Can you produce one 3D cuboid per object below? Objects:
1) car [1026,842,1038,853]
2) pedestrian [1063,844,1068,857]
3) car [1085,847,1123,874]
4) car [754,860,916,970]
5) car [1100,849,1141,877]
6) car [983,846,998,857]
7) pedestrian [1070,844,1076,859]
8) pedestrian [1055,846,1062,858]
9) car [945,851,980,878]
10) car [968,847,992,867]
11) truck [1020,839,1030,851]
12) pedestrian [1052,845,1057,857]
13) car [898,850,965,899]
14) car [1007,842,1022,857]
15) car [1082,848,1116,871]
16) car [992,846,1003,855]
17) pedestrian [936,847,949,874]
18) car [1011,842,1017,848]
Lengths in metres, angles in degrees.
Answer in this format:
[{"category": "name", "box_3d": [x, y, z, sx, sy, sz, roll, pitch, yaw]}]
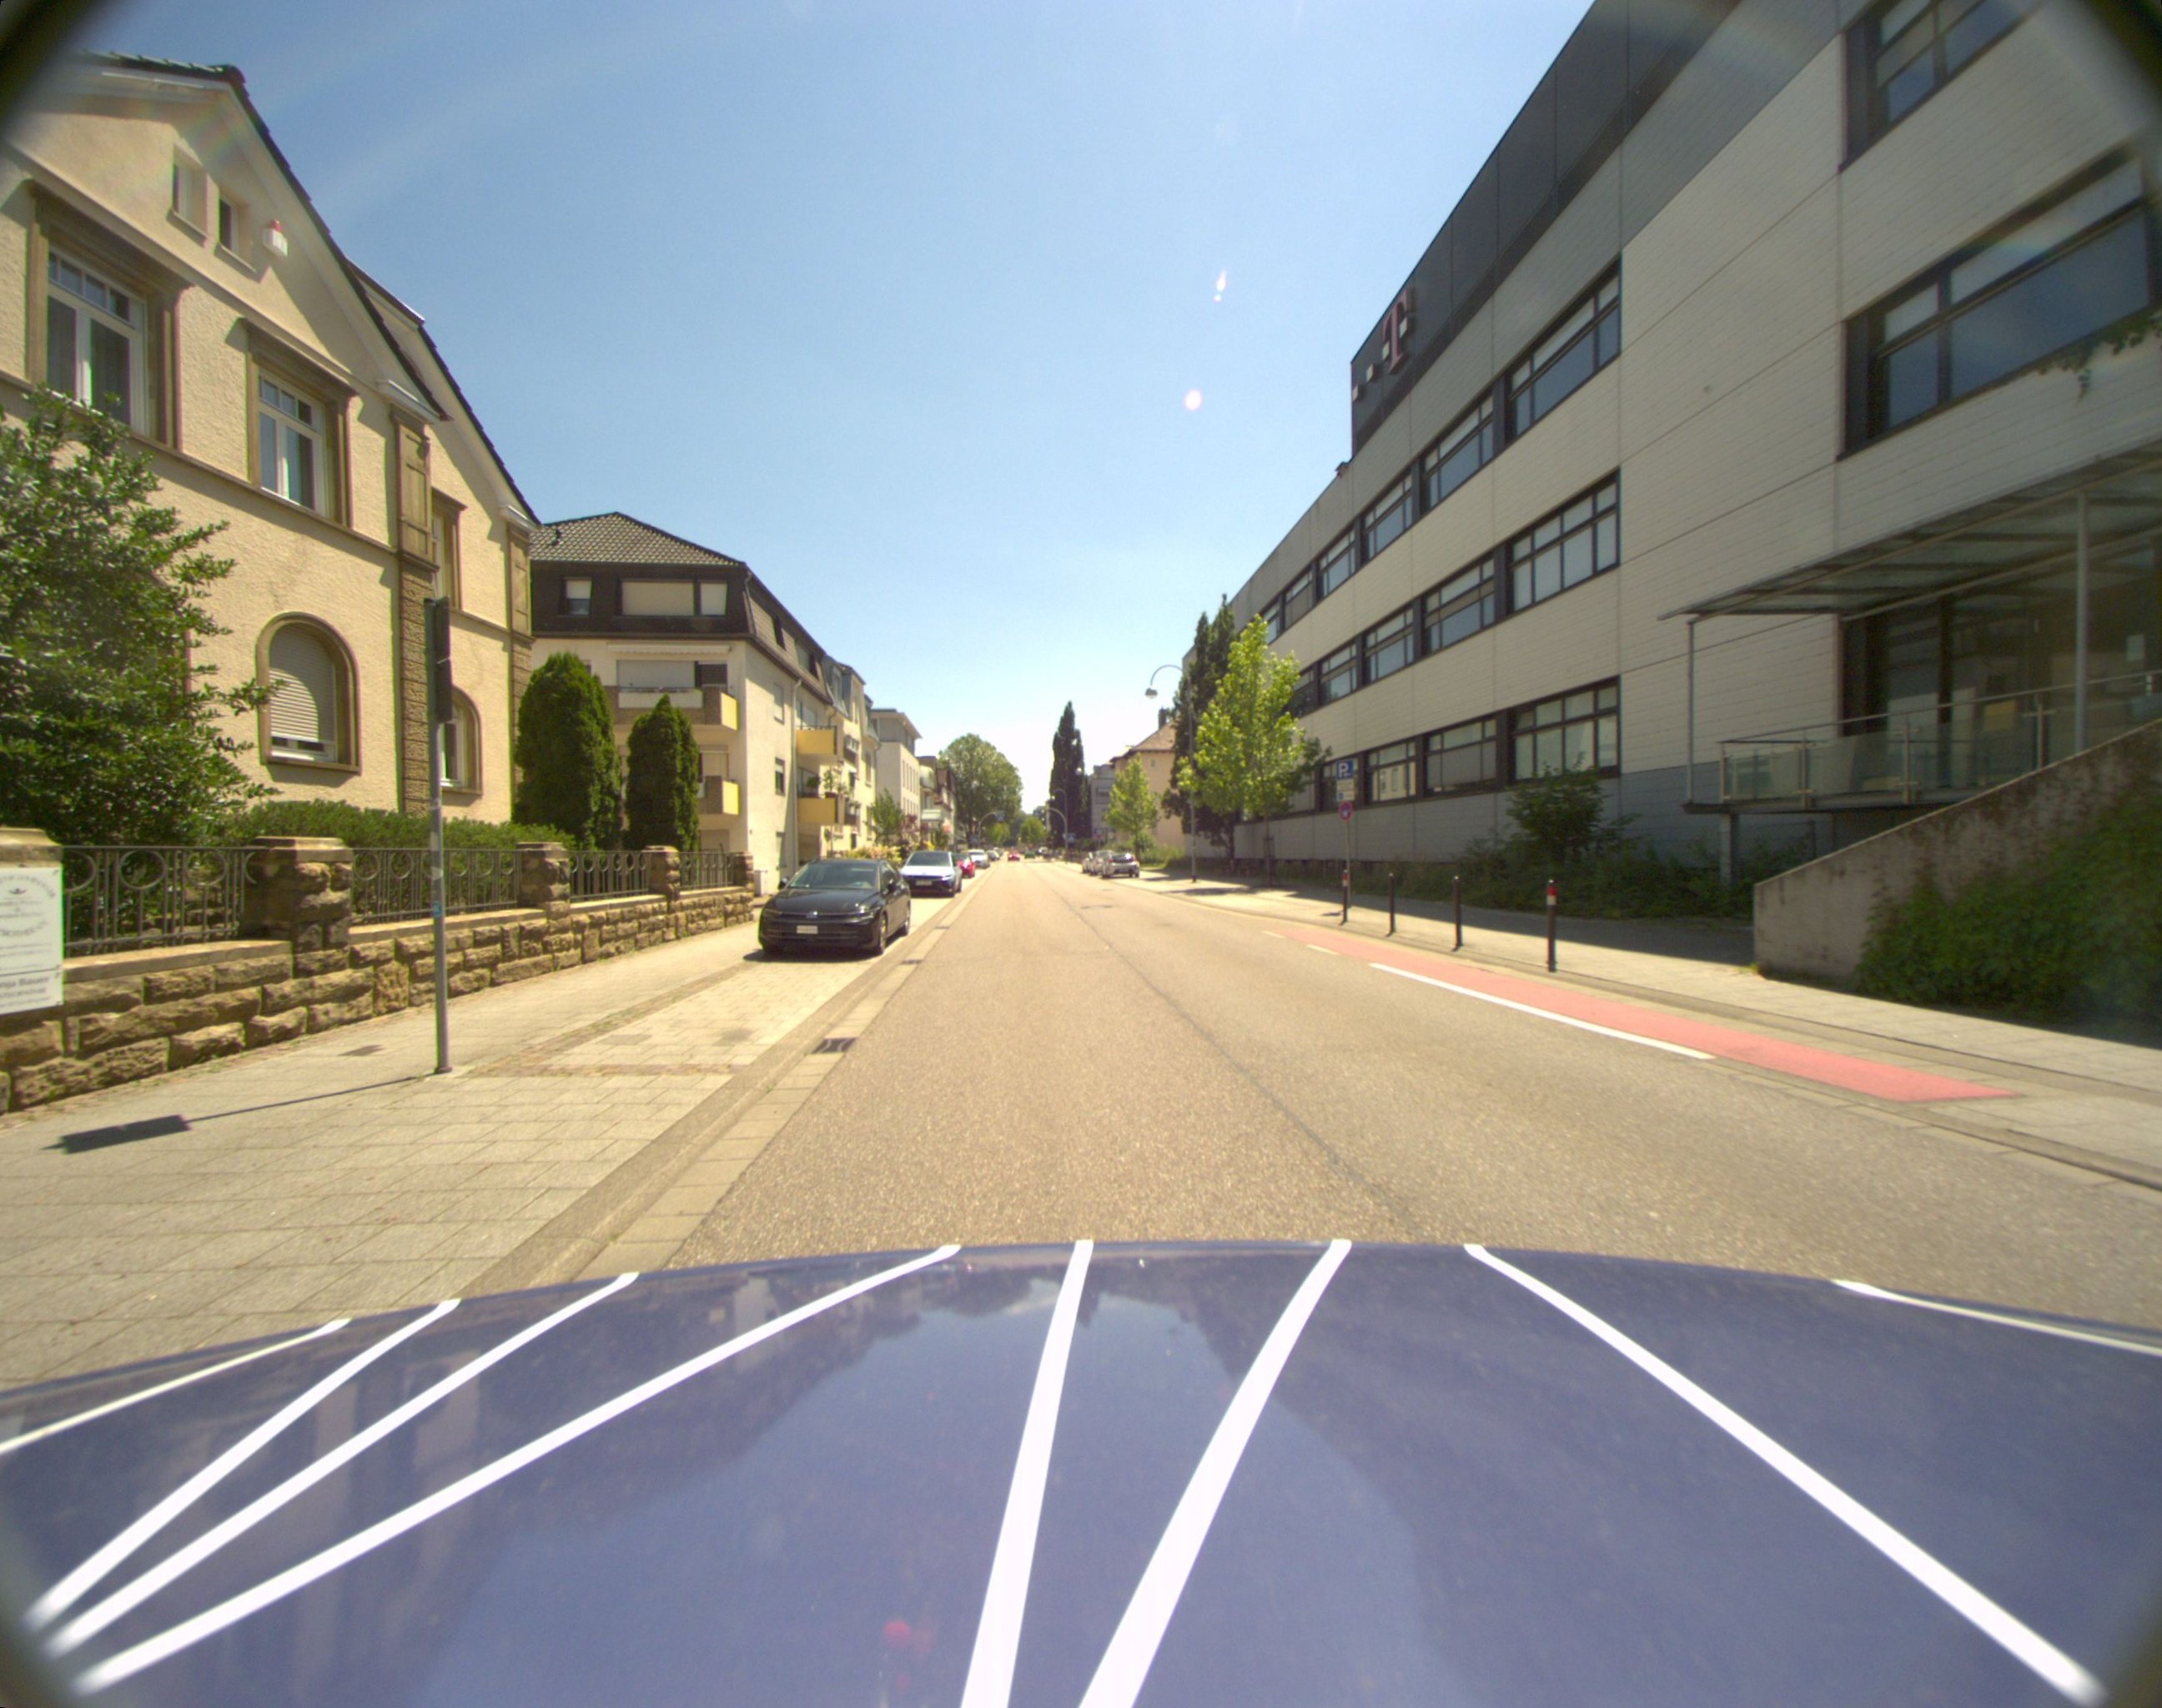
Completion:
[{"category": "car", "box_3d": [-8.293, -1.047, 128.478, 1.827, 1.580, 4.098, -4, 2, -2]}, {"category": "pedestrian", "box_3d": [-1.879, -0.418, 95.014, 0.538, 1.675, 0.708, -1, 2, -5]}, {"category": "car", "box_3d": [1.426, 0.389, 47.830, 1.827, 1.503, 4.287, -4, 1, -5]}, {"category": "car", "box_3d": [-3.919, 0.885, 12.856, 1.636, 1.438, 4.395, 2, 0, -5]}, {"category": "car", "box_3d": [2.153, 0.472, 42.156, 1.753, 1.401, 3.931, -3, 1, -4]}, {"category": "car", "box_3d": [-12.510, -0.365, 105.218, 1.832, 1.418, 4.697, 0, 1, -5]}, {"category": "pedestrian", "box_3d": [-0.871, -0.270, 84.748, 0.538, 1.675, 0.708, -1, 2, -5]}, {"category": "pedestrian", "box_3d": [-3.255, -0.269, 108.268, 0.848, 1.636, 0.750, -4, 2, -3]}, {"category": "car", "box_3d": [-6.842, 0.556, 44.203, 1.608, 1.432, 3.851, 2, 0, -4]}, {"category": "car", "box_3d": [-8.700, 0.230, 65.594, 1.710, 1.656, 4.577, -2, 1, -5]}, {"category": "truck", "box_3d": [-14.288, -2.285, 194.291, 2.426, 2.966, 6.255, -1, 1, -3]}, {"category": "pedestrian", "box_3d": [-4.122, -0.455, 116.166, 0.623, 1.667, 0.903, -3, 2, -6]}, {"category": "car", "box_3d": [-5.280, 0.667, 27.369, 1.849, 1.610, 4.424, 1, 1, -4]}, {"category": "car", "box_3d": [-9.320, -0.666, 106.263, 2.001, 1.880, 4.291, -3, 1, -5]}, {"category": "car", "box_3d": [1.192, 0.359, 52.964, 1.827, 1.403, 4.574, -3, 1, -5]}, {"category": "car", "box_3d": [-12.897, -0.603, 117.369, 1.562, 1.333, 4.170, 0, 1, -5]}, {"category": "pedestrian", "box_3d": [-8.688, 0.424, 47.740, 0.743, 1.660, 0.705, 2, 1, -6]}, {"category": "car", "box_3d": [-20.300, -2.736, 230.528, 1.732, 1.500, 4.289, -2, 3, -7]}]
